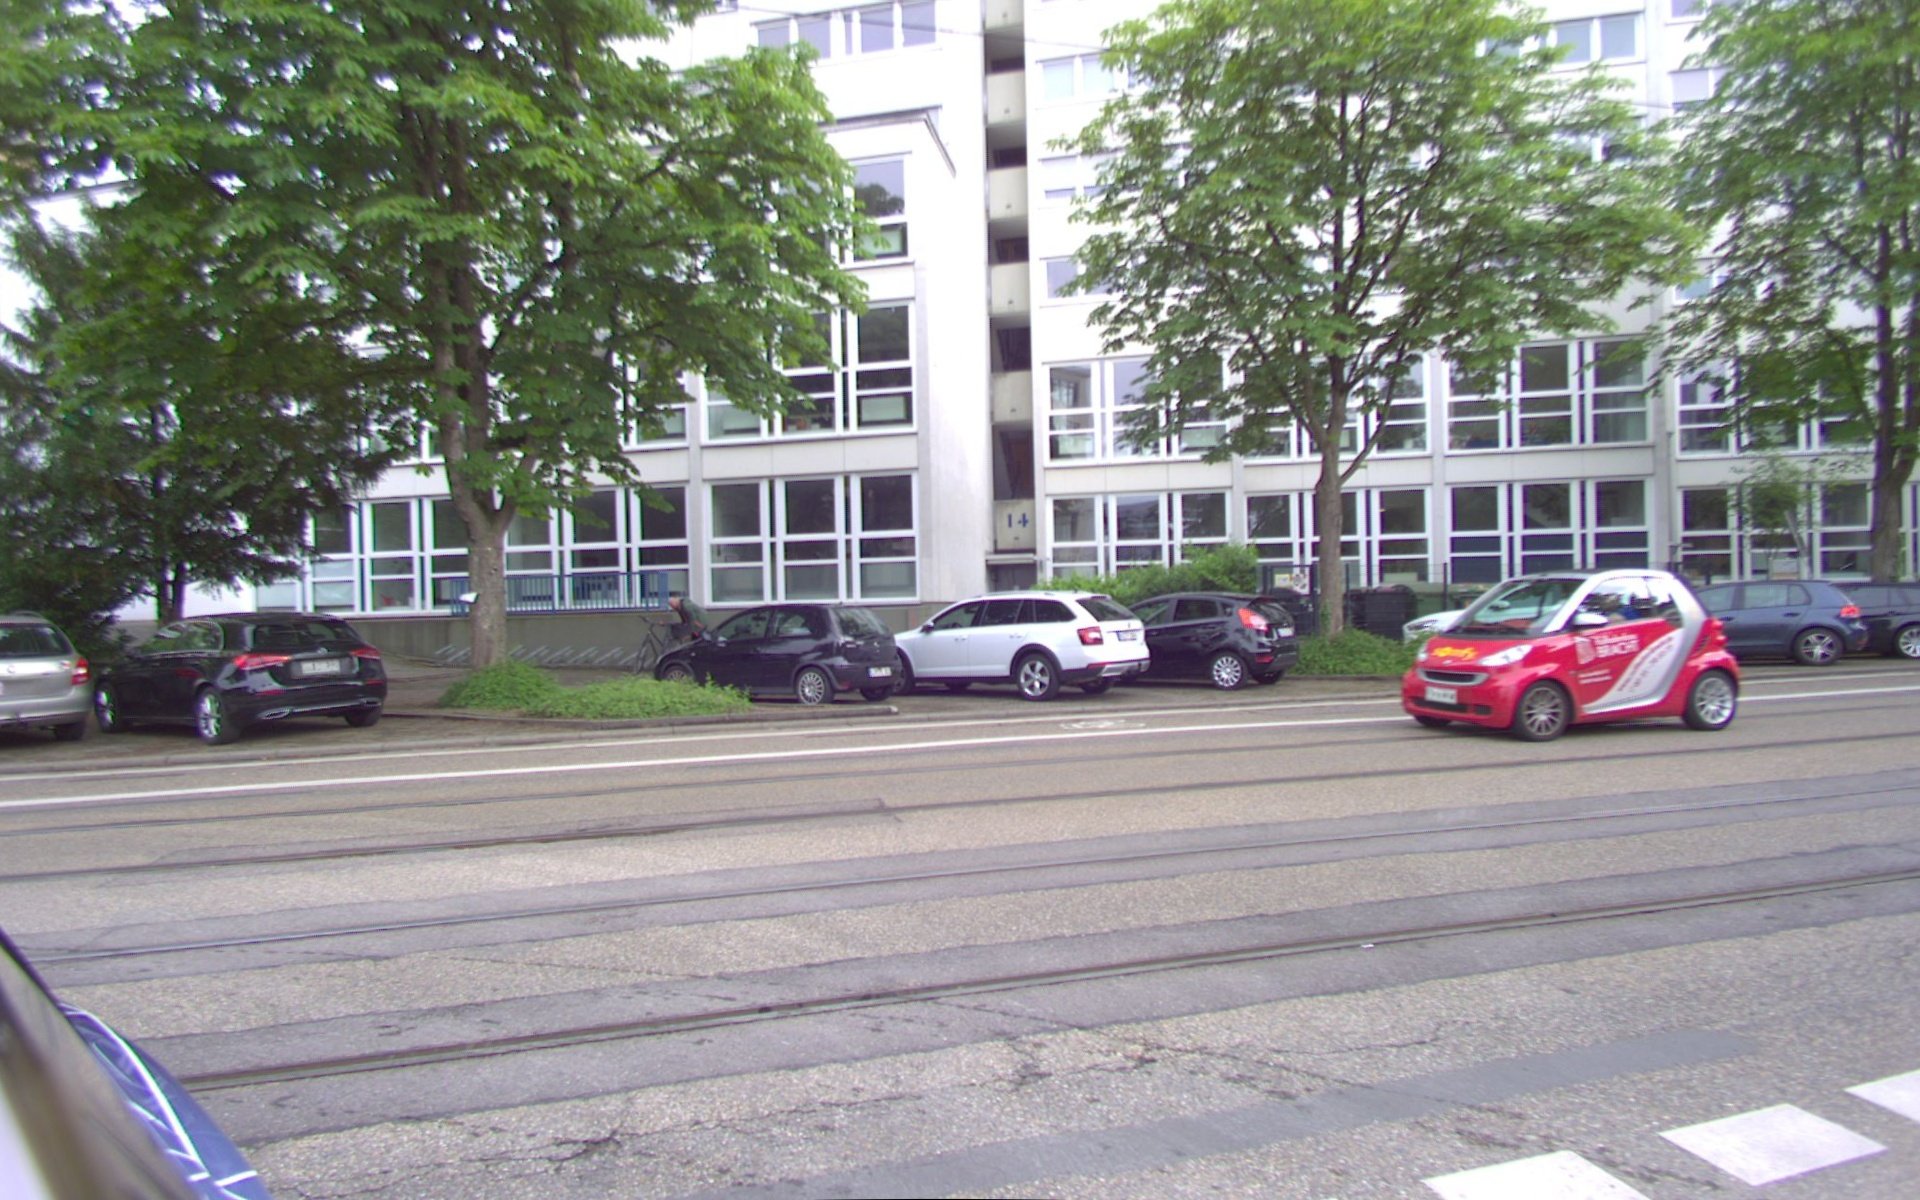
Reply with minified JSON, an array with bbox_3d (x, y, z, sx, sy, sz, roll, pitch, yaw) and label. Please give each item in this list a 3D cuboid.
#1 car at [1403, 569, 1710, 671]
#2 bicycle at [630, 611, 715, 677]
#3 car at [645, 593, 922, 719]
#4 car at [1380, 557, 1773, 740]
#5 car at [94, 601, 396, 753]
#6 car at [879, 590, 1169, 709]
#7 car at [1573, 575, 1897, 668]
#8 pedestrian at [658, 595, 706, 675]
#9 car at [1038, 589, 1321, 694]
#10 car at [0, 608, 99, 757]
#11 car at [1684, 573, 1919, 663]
[{"bbox_3d":[10.017,0.316,17.371,4.325,1.567,1.684,-1,1,28],"label":"car"},{"bbox_3d":[-5.786,0.878,20.384,1.571,1.278,0.406,-2,-1,-4],"label":"bicycle"},{"bbox_3d":[-2.538,0.716,14.348,3.694,1.535,1.681,-1,1,32],"label":"car"},{"bbox_3d":[5.788,0.423,9.680,2.736,1.534,1.686,-1,-2,-12],"label":"car"},{"bbox_3d":[-8.660,0.816,12.197,3.694,1.535,1.681,-1,1,32],"label":"car"},{"bbox_3d":[0.857,0.646,14.911,4.024,1.495,1.678,-1,1,39],"label":"car"},{"bbox_3d":[13.364,0.337,17.825,4.331,1.464,1.682,-1,1,31],"label":"car"},{"bbox_3d":[-5.764,0.710,21.022,0.746,1.623,0.733,0,1,7],"label":"pedestrian"},{"bbox_3d":[3.358,0.585,15.871,4.024,1.416,1.678,-1,1,39],"label":"car"},{"bbox_3d":[-11.603,0.895,11.645,3.639,1.535,1.556,-1,1,32],"label":"car"},{"bbox_3d":[16.270,0.310,18.882,4.331,1.547,1.682,-1,1,31],"label":"car"}]
